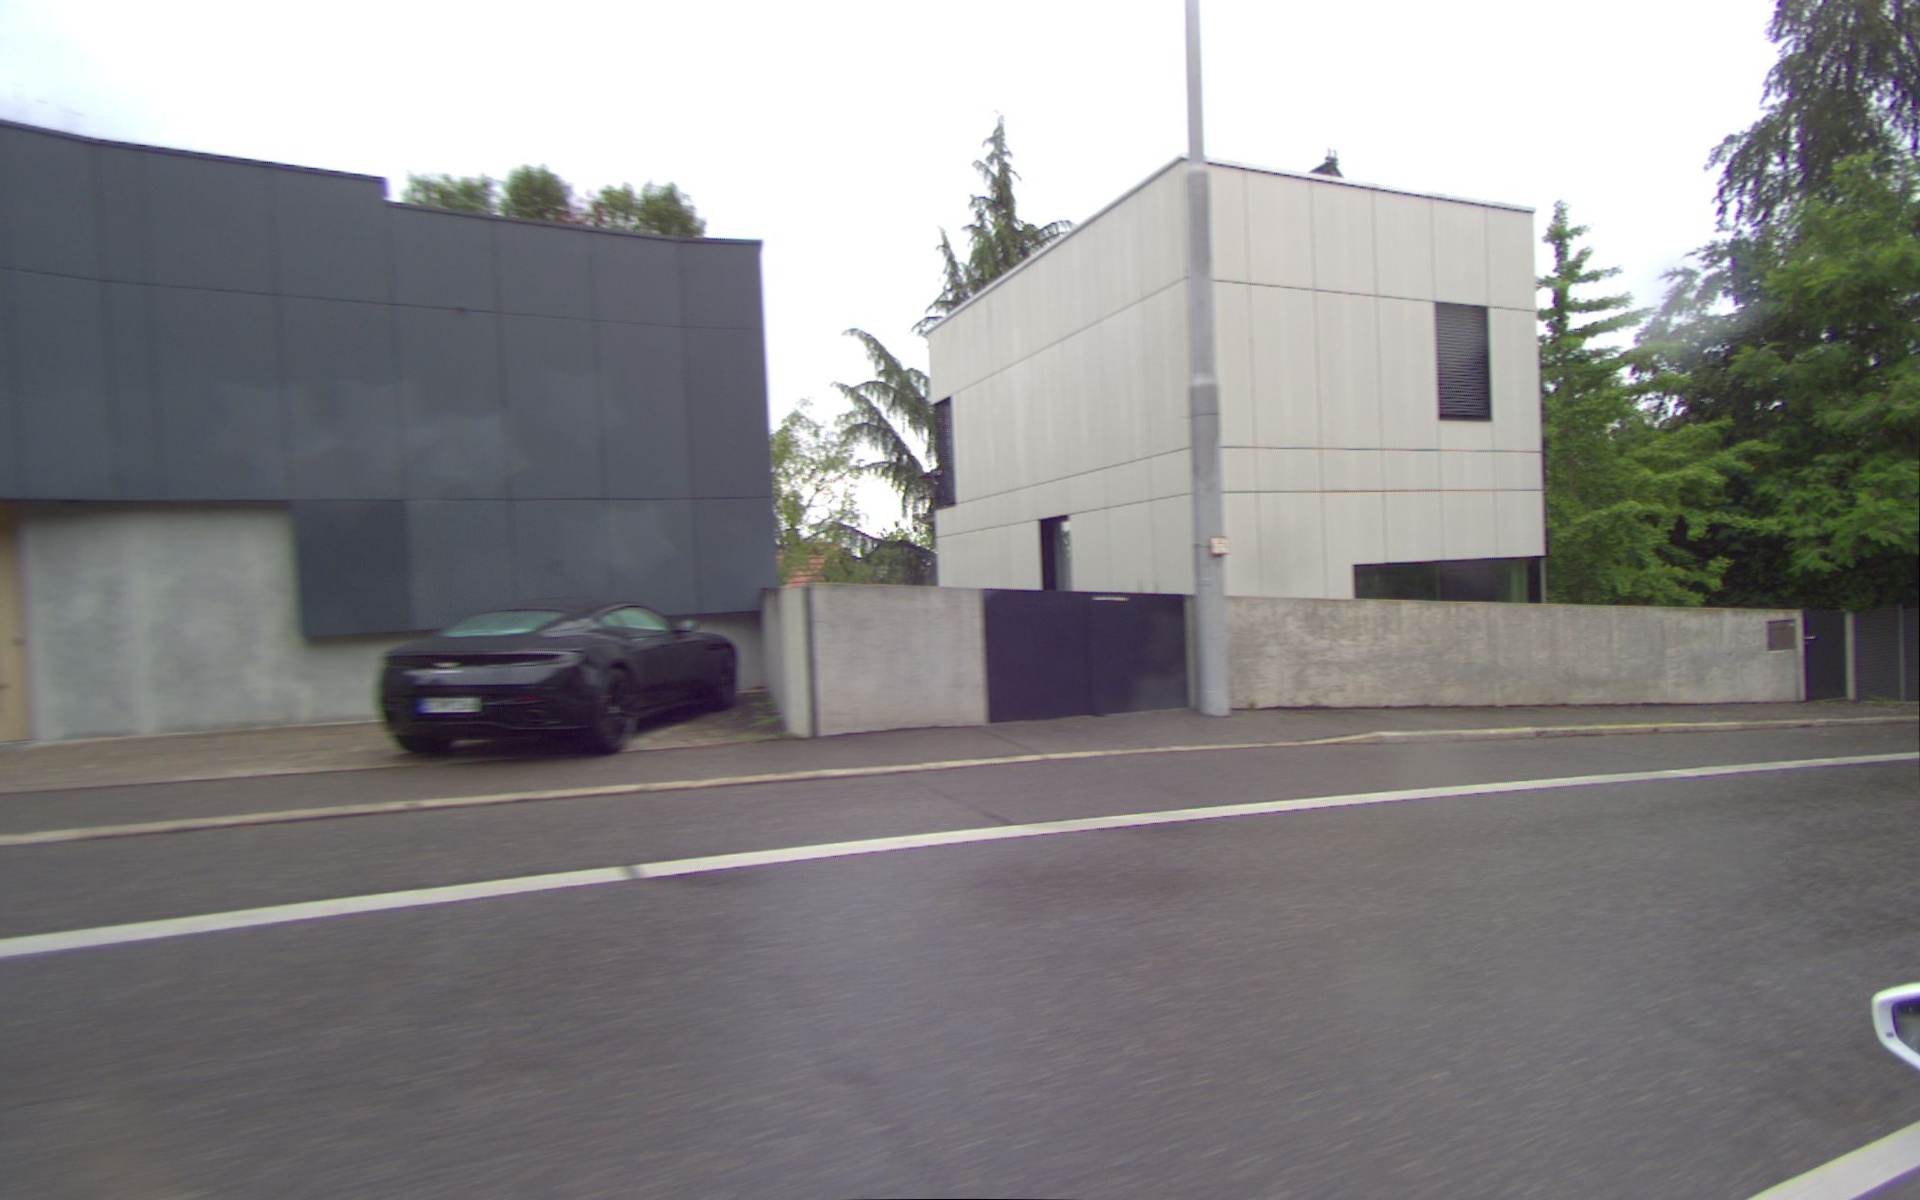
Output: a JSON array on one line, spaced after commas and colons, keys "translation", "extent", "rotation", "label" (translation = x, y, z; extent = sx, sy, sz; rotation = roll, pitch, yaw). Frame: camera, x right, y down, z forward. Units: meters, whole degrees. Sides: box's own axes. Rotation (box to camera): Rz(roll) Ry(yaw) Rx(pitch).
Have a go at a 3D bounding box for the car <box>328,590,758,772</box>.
[{"translation": [-3.530, 0.625, 9.440], "extent": [1.859, 1.318, 4.003], "rotation": [0, -1, 10], "label": "car"}]
